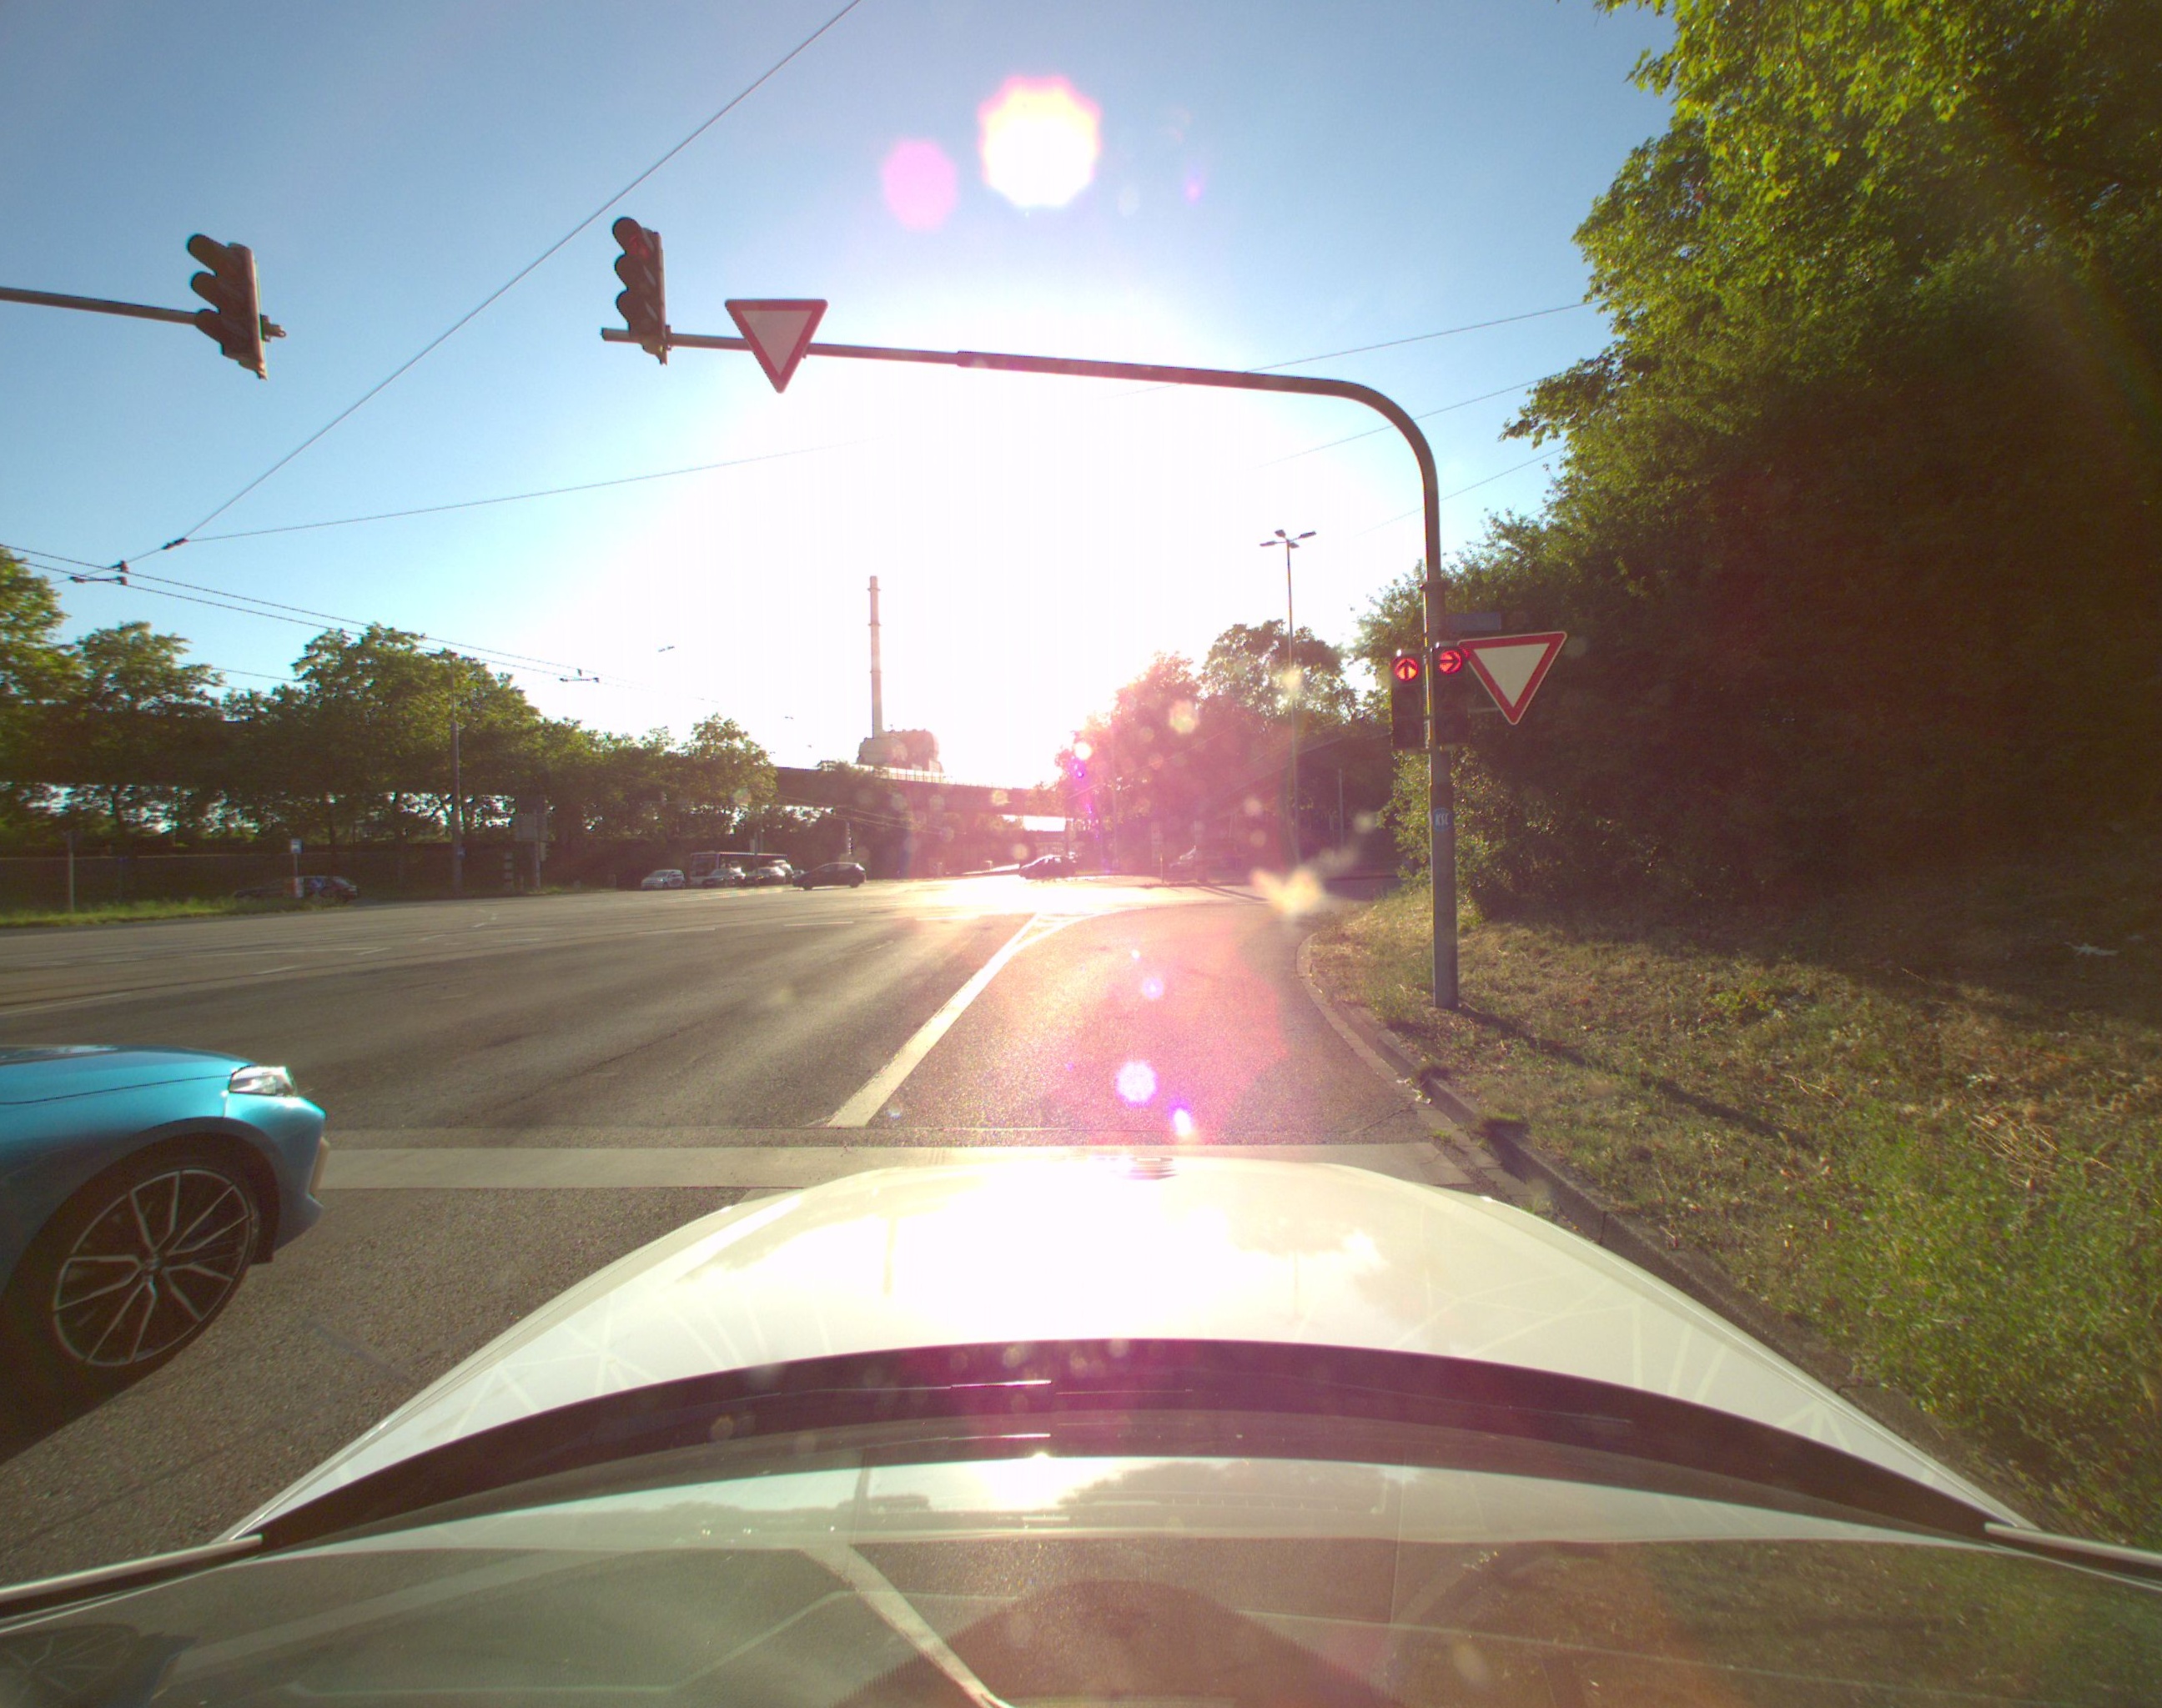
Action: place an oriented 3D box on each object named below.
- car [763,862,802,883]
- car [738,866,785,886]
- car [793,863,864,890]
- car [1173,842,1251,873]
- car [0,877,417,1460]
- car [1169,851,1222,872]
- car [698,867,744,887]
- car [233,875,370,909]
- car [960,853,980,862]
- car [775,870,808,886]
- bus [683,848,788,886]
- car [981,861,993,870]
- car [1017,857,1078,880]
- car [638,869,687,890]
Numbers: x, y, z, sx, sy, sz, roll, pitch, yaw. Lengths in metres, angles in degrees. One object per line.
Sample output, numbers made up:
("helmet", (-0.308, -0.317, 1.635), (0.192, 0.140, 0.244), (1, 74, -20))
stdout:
("car", (-25.613, 1.564, 70.005), (1.704, 1.652, 4.097), (-1, 0, 2))
("car", (-23.523, 1.583, 60.109), (1.704, 1.354, 4.097), (-1, 0, 2))
("car", (-14.251, 1.252, 46.110), (3.730, 1.422, 1.687), (-1, 0, -17))
("car", (8.670, 0.238, 53.953), (4.703, 1.905, 1.987), (-1, 0, -19))
("car", (-3.573, 0.812, 1.040), (1.779, 1.417, 4.511), (-1, 0, -1))
("car", (9.604, 0.602, 68.315), (4.194, 1.652, 1.715), (-1, 0, -2))
("car", (-26.357, 1.659, 59.735), (1.599, 1.354, 3.999), (-1, 0, 0))
("car", (-38.691, 1.869, 40.556), (4.524, 1.454, 1.991), (-1, 0, -13))
("car", (-22.668, 0.636, 166.287), (1.974, 1.771, 4.025), (-1, -1, 34))
("car", (-28.887, 2.341, 81.373), (1.693, 1.442, 4.002), (-1, 0, 2))
("bus", (-29.538, 1.045, 70.671), (2.810, 2.954, 12.866), (-1, 0, 4))
("car", (-19.072, 2.311, 165.712), (1.703, 1.652, 4.101), (-1, 0, 5))
("car", (-2.234, 0.918, 53.967), (3.730, 1.422, 1.687), (-1, 0, -17))
("car", (-30.099, 1.822, 58.699), (1.599, 1.354, 3.734), (-1, 0, 0))
